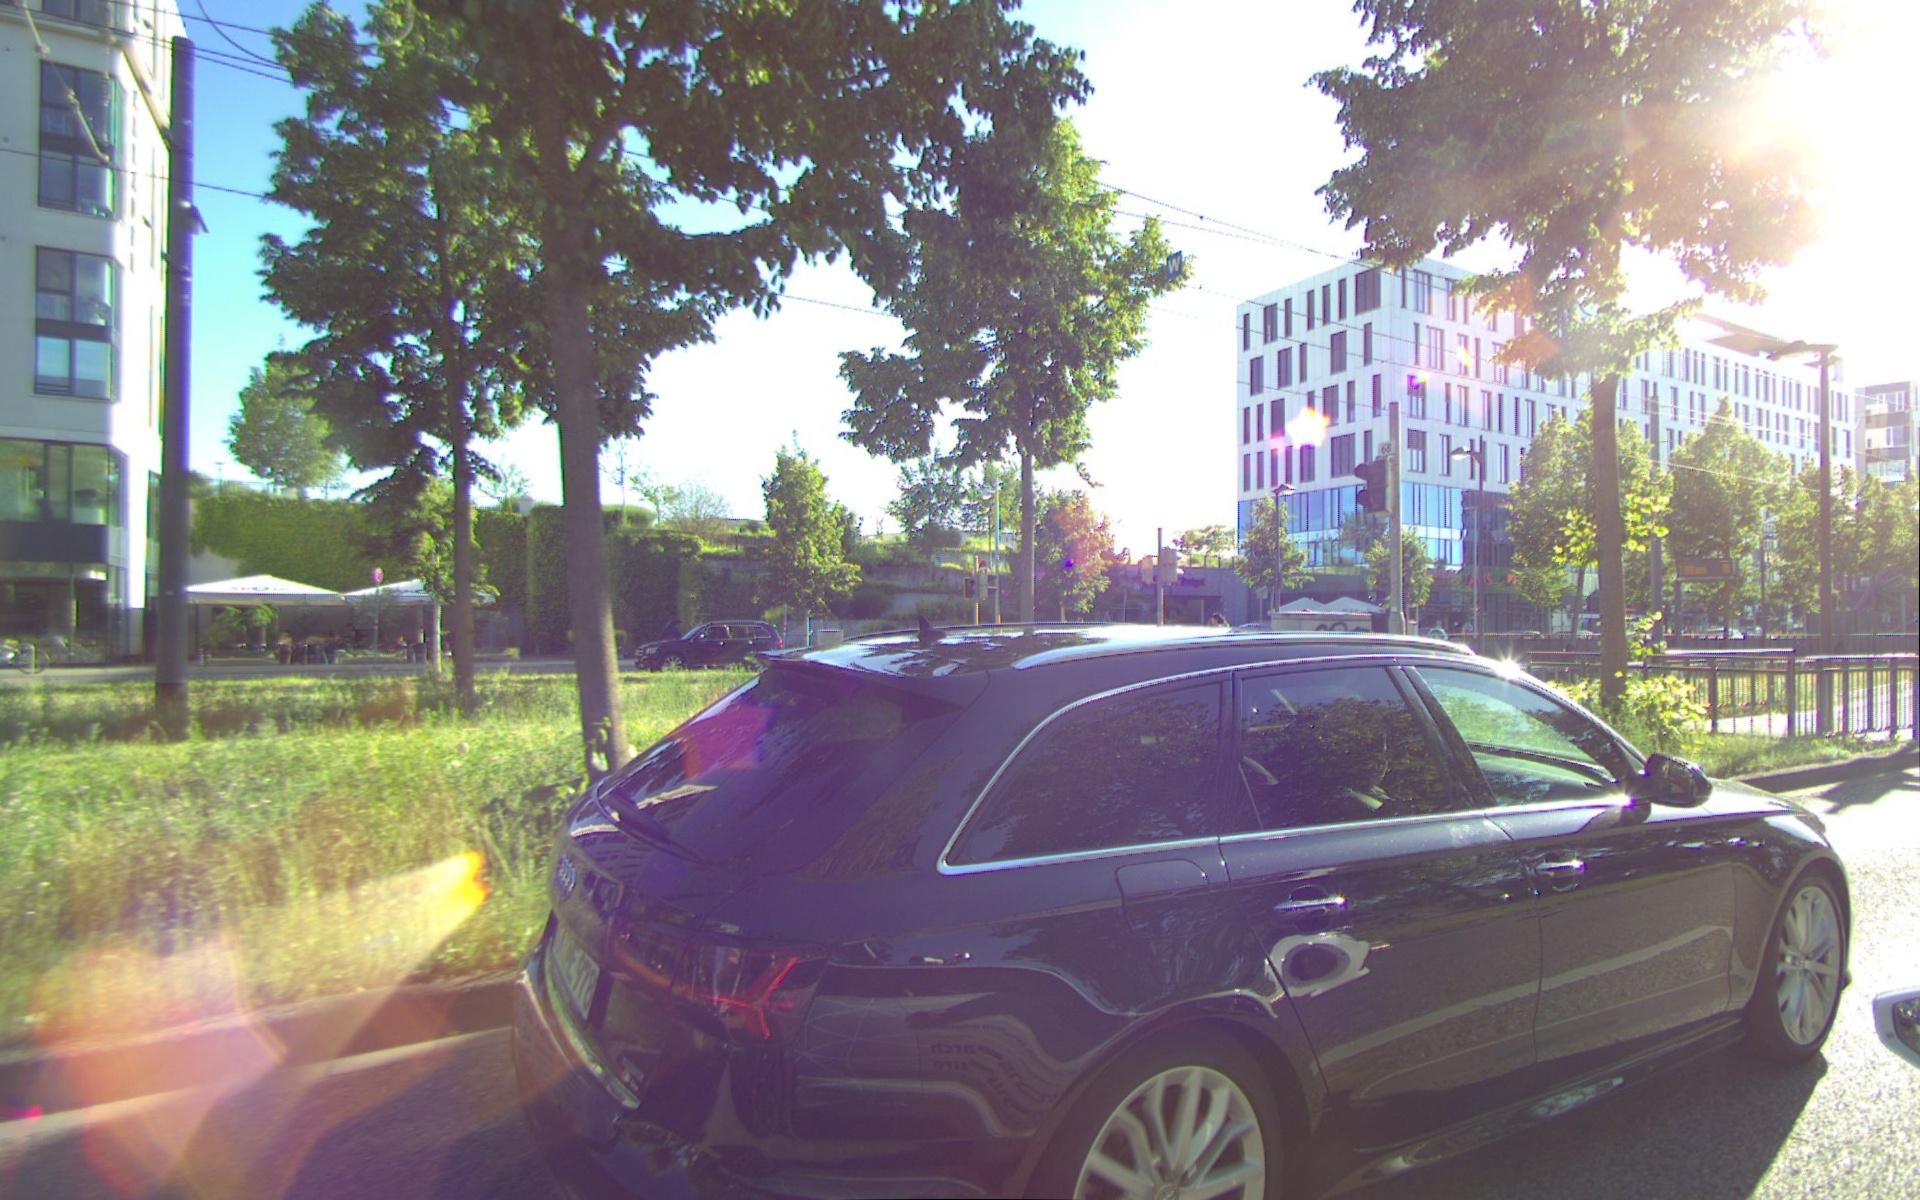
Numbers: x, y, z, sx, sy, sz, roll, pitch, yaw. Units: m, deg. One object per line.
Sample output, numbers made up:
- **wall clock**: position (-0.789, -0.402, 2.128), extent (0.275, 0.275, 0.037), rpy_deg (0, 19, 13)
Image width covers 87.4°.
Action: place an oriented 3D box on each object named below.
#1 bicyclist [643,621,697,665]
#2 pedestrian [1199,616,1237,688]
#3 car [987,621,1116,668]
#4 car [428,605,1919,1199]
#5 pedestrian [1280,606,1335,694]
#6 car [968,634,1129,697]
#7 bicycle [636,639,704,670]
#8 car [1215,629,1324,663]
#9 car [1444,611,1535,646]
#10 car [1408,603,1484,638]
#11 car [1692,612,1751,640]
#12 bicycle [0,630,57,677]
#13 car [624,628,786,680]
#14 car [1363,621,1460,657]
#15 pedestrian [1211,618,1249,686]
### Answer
- **bicyclist**: position (-9.841, 1.456, 34.101), extent (1.641, 1.424, 0.486), rpy_deg (2, 0, -31)
- **pedestrian**: position (5.694, 1.144, 22.167), extent (0.580, 1.538, 0.548), rpy_deg (1, 0, -25)
- **car**: position (3.438, 1.659, 37.691), extent (4.555, 1.642, 1.871), rpy_deg (2, 0, -29)
- **car**: position (1.092, 0.806, 3.330), extent (5.023, 1.500, 1.944), rpy_deg (1, 0, -29)
- **pedestrian**: position (7.520, 1.069, 21.763), extent (0.718, 1.860, 0.816), rpy_deg (1, 0, -32)
- **car**: position (2.408, 1.728, 27.243), extent (3.956, 1.506, 1.982), rpy_deg (2, 0, -32)
- **bicycle**: position (-9.849, 1.853, 34.116), extent (2.163, 1.014, 0.494), rpy_deg (2, 0, -31)
- **car**: position (13.485, 2.000, 43.737), extent (4.555, 1.343, 1.904), rpy_deg (2, 0, -29)
- **car**: position (27.200, 1.469, 51.584), extent (4.555, 1.694, 1.985), rpy_deg (2, 0, -29)
- **car**: position (30.338, 1.256, 62.684), extent (4.508, 2.040, 1.985), rpy_deg (2, 0, -29)
- **car**: position (59.135, 2.003, 77.999), extent (4.508, 2.040, 1.985), rpy_deg (2, 0, -29)
- **bicycle**: position (-26.650, 1.490, 28.197), extent (1.818, 1.269, 0.585), rpy_deg (2, 0, -31)
- **car**: position (-7.883, 1.642, 31.173), extent (4.555, 1.454, 1.871), rpy_deg (2, 0, -29)
- **car**: position (21.929, 1.887, 48.768), extent (4.555, 1.630, 1.985), rpy_deg (2, 0, -29)
- **pedestrian**: position (6.130, 1.168, 22.816), extent (0.595, 1.516, 0.541), rpy_deg (1, 0, -26)
